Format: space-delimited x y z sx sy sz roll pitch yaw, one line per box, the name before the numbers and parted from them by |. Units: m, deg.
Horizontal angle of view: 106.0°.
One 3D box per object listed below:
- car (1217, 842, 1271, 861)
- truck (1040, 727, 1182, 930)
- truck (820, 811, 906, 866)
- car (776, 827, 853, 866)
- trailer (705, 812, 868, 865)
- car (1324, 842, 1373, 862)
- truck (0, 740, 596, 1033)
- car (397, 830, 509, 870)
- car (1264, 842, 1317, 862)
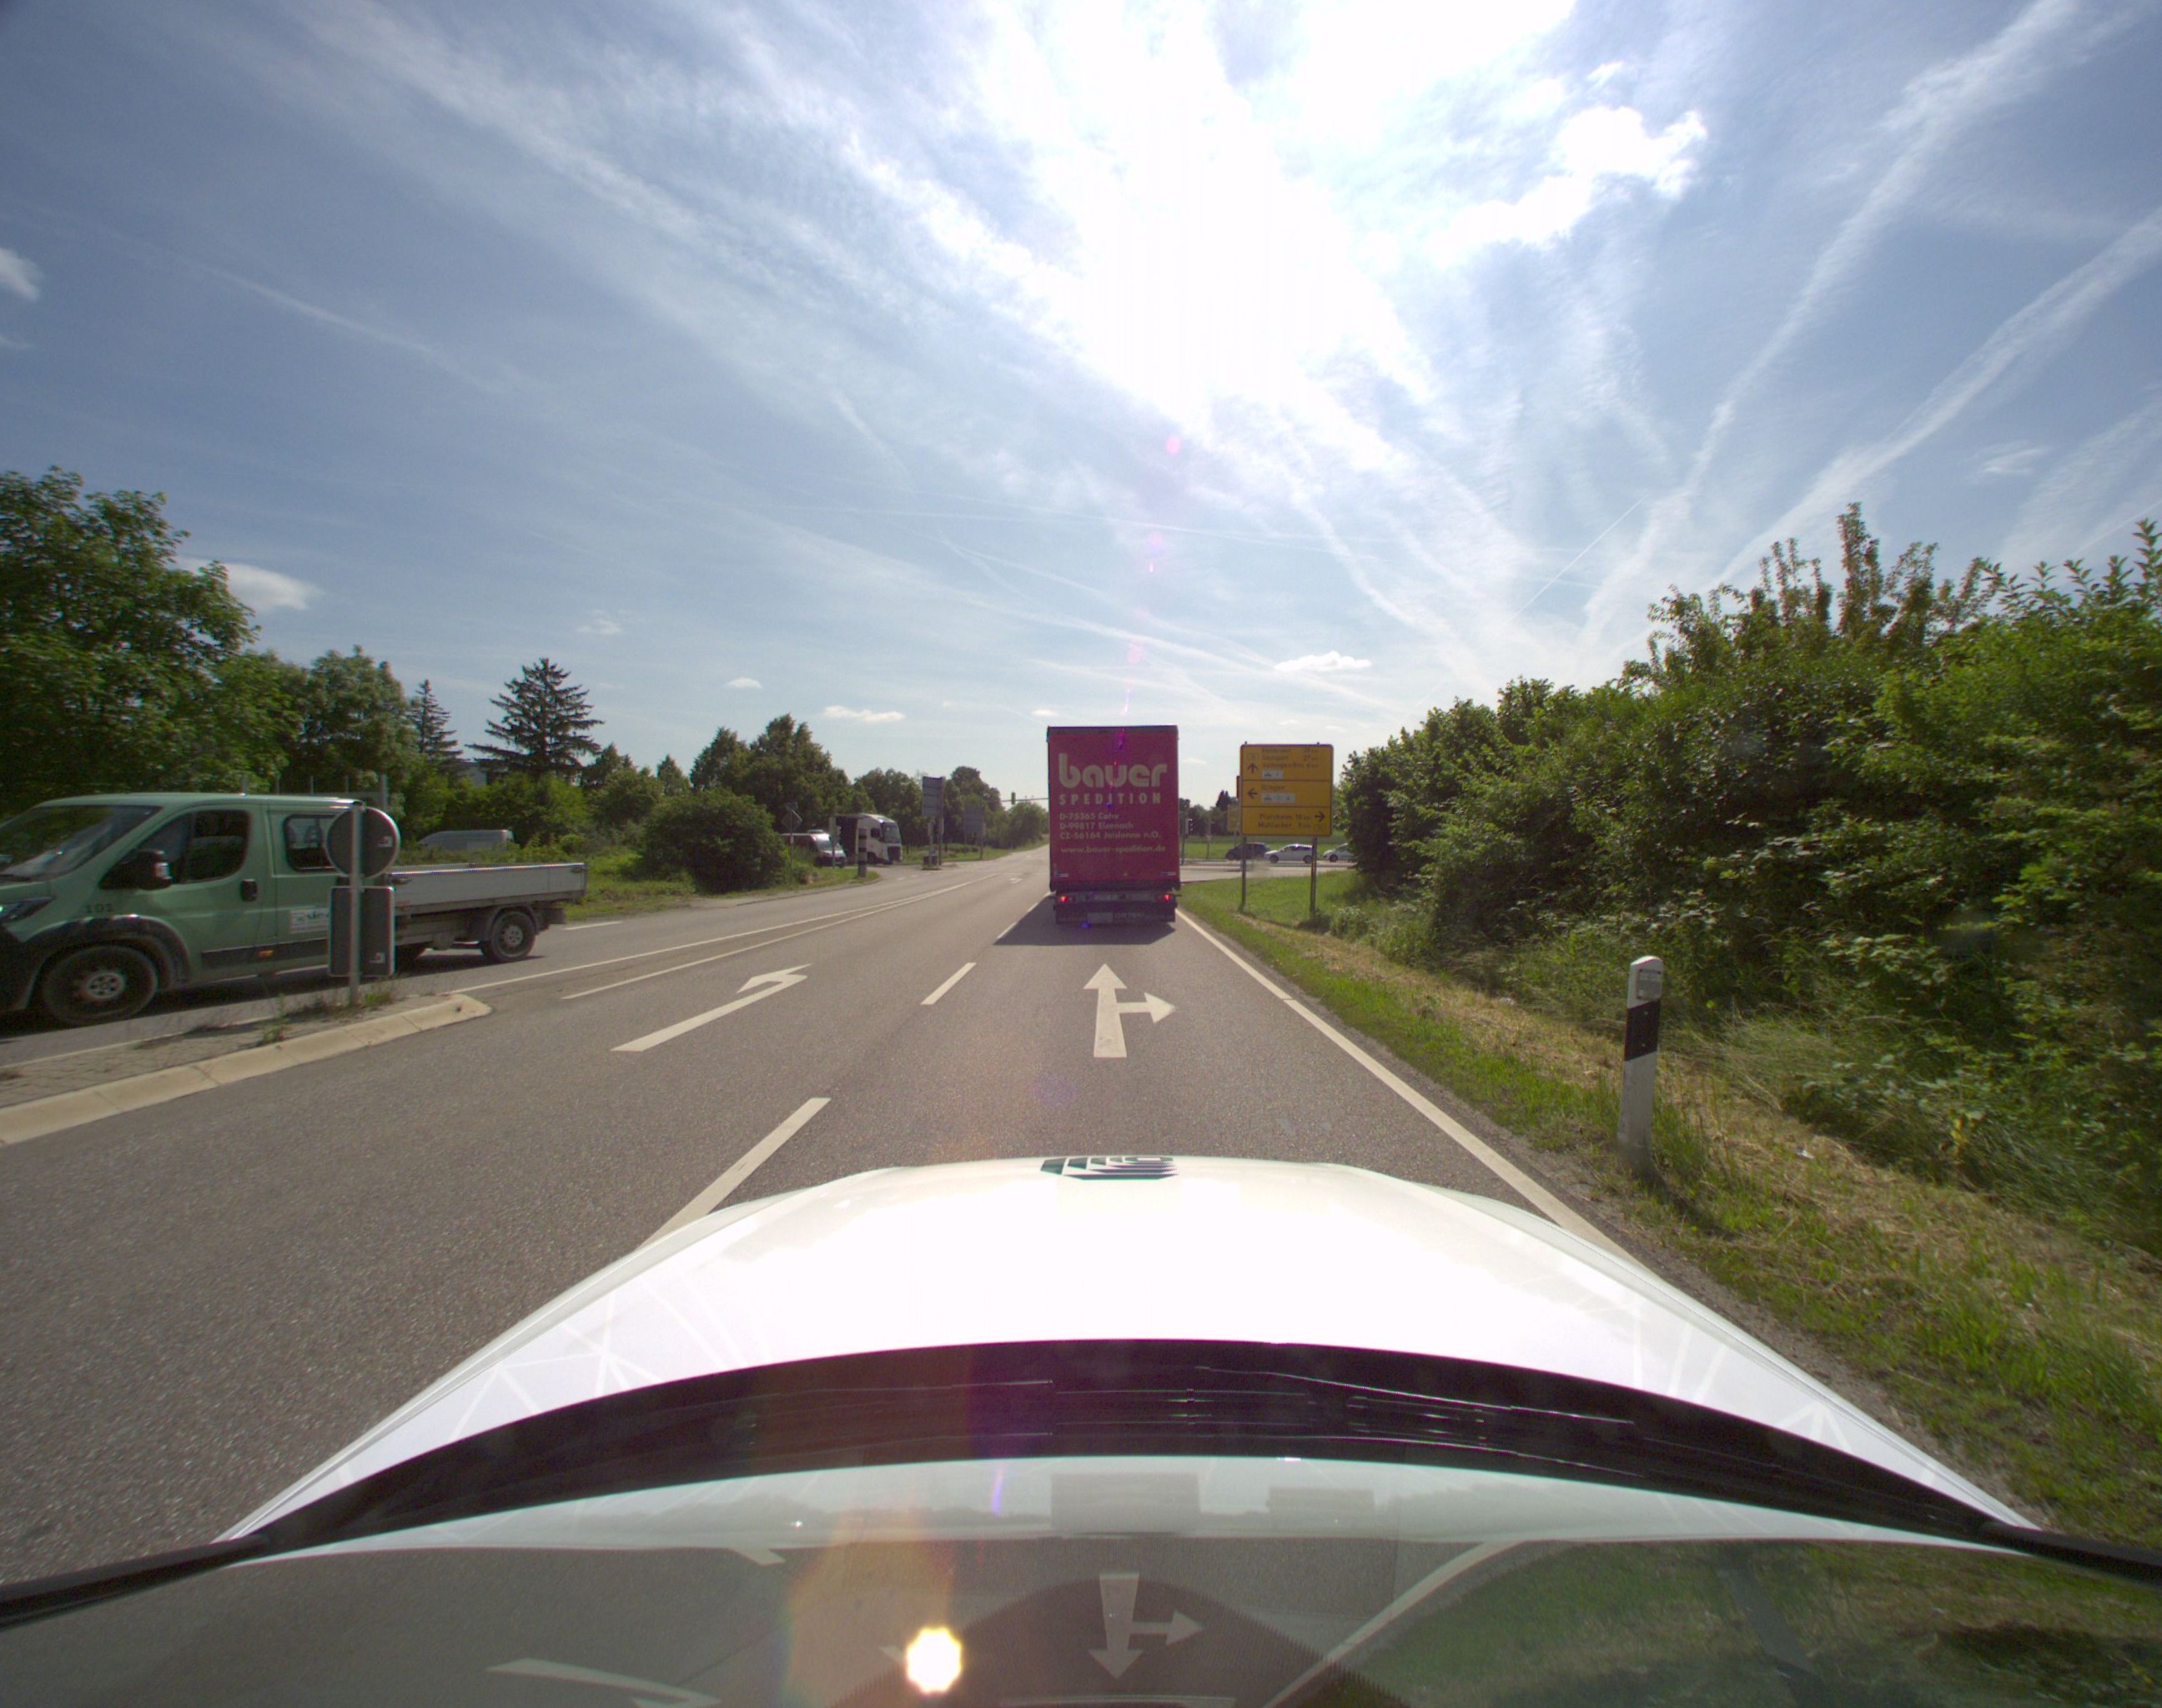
car | 14.244 -0.183 71.254 4.232 1.656 1.711 0 -1 34
truck | 0.678 -0.590 24.077 2.725 3.925 16.627 0 1 1
truck | -16.867 -1.199 63.116 5.782 4.061 2.810 0 1 16
car | -18.789 -0.512 57.232 5.909 2.654 2.138 0 0 37
trailer | -23.805 -1.246 65.505 13.571 4.060 2.812 0 1 19
car | 22.047 -0.143 67.264 3.798 1.633 1.768 -1 -1 15
truck | -9.234 0.250 9.666 2.227 2.375 6.371 0 0 12
car | -35.407 -0.192 46.101 4.601 2.180 1.986 1 0 -22
car | 16.729 -0.127 64.975 4.068 1.547 1.881 0 -1 15
